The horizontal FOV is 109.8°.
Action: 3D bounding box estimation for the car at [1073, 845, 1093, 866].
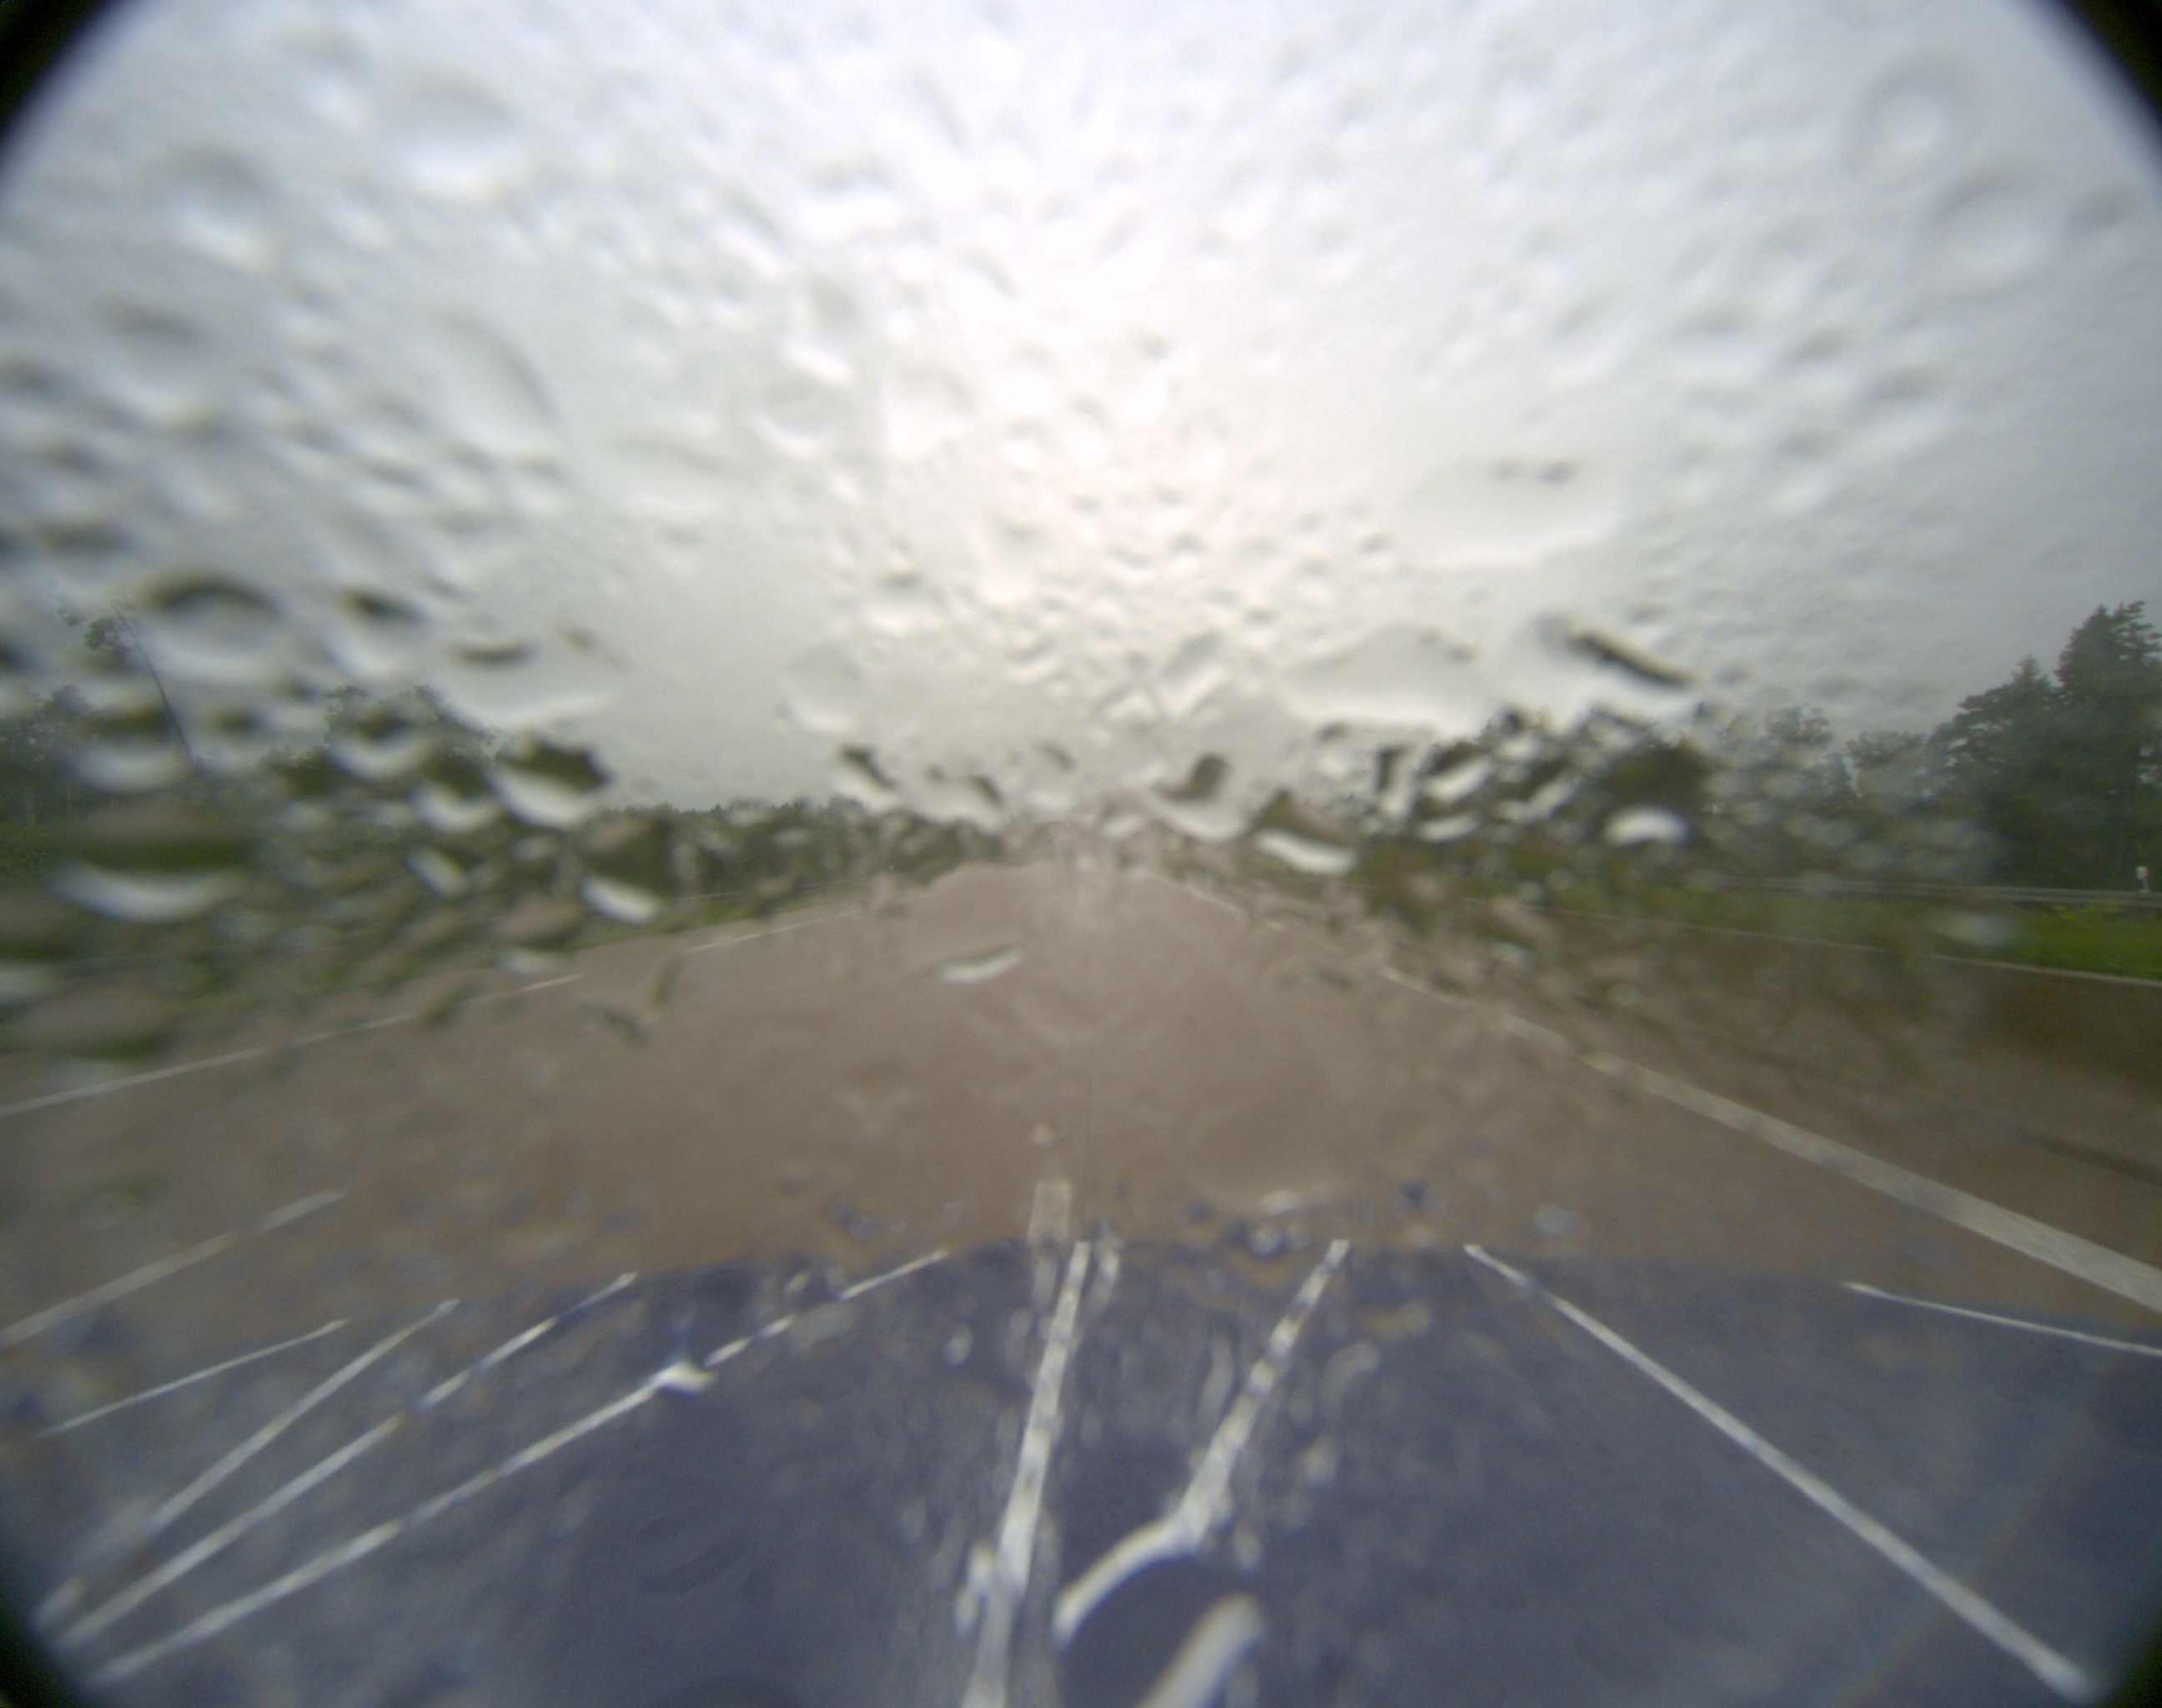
[{"bbox_3d":[0.225,0.160,79.938,1.998,2.002,4.277,-3,0,0],"label":"car"}]
